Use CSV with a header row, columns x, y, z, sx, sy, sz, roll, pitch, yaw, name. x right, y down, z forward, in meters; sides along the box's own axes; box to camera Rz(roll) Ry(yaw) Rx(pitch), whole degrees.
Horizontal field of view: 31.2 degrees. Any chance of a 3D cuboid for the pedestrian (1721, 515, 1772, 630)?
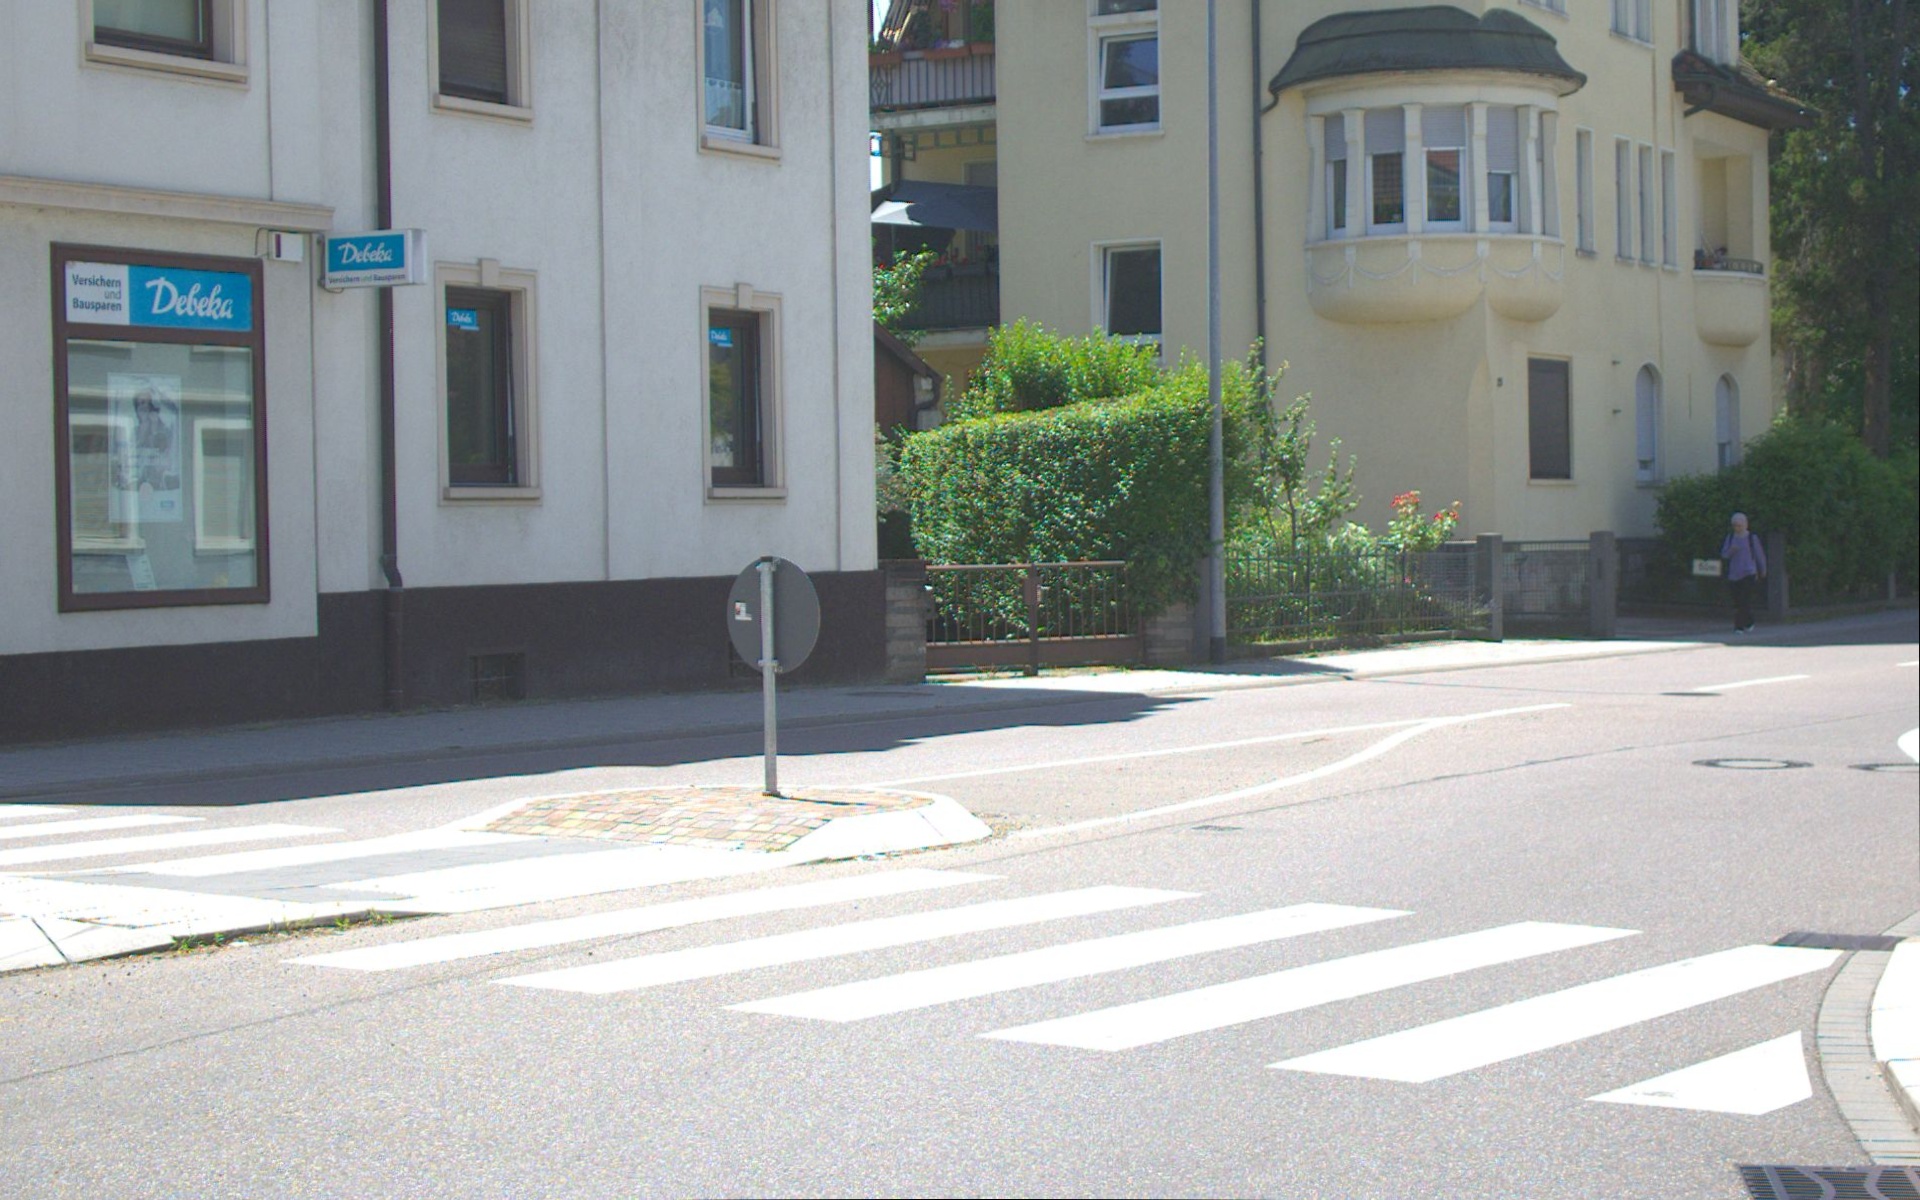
x,y,z,sx,sy,sz,roll,pitch,yaw,name
10.396,-0.370,45.430,0.524,1.504,0.472,0,1,33,pedestrian
